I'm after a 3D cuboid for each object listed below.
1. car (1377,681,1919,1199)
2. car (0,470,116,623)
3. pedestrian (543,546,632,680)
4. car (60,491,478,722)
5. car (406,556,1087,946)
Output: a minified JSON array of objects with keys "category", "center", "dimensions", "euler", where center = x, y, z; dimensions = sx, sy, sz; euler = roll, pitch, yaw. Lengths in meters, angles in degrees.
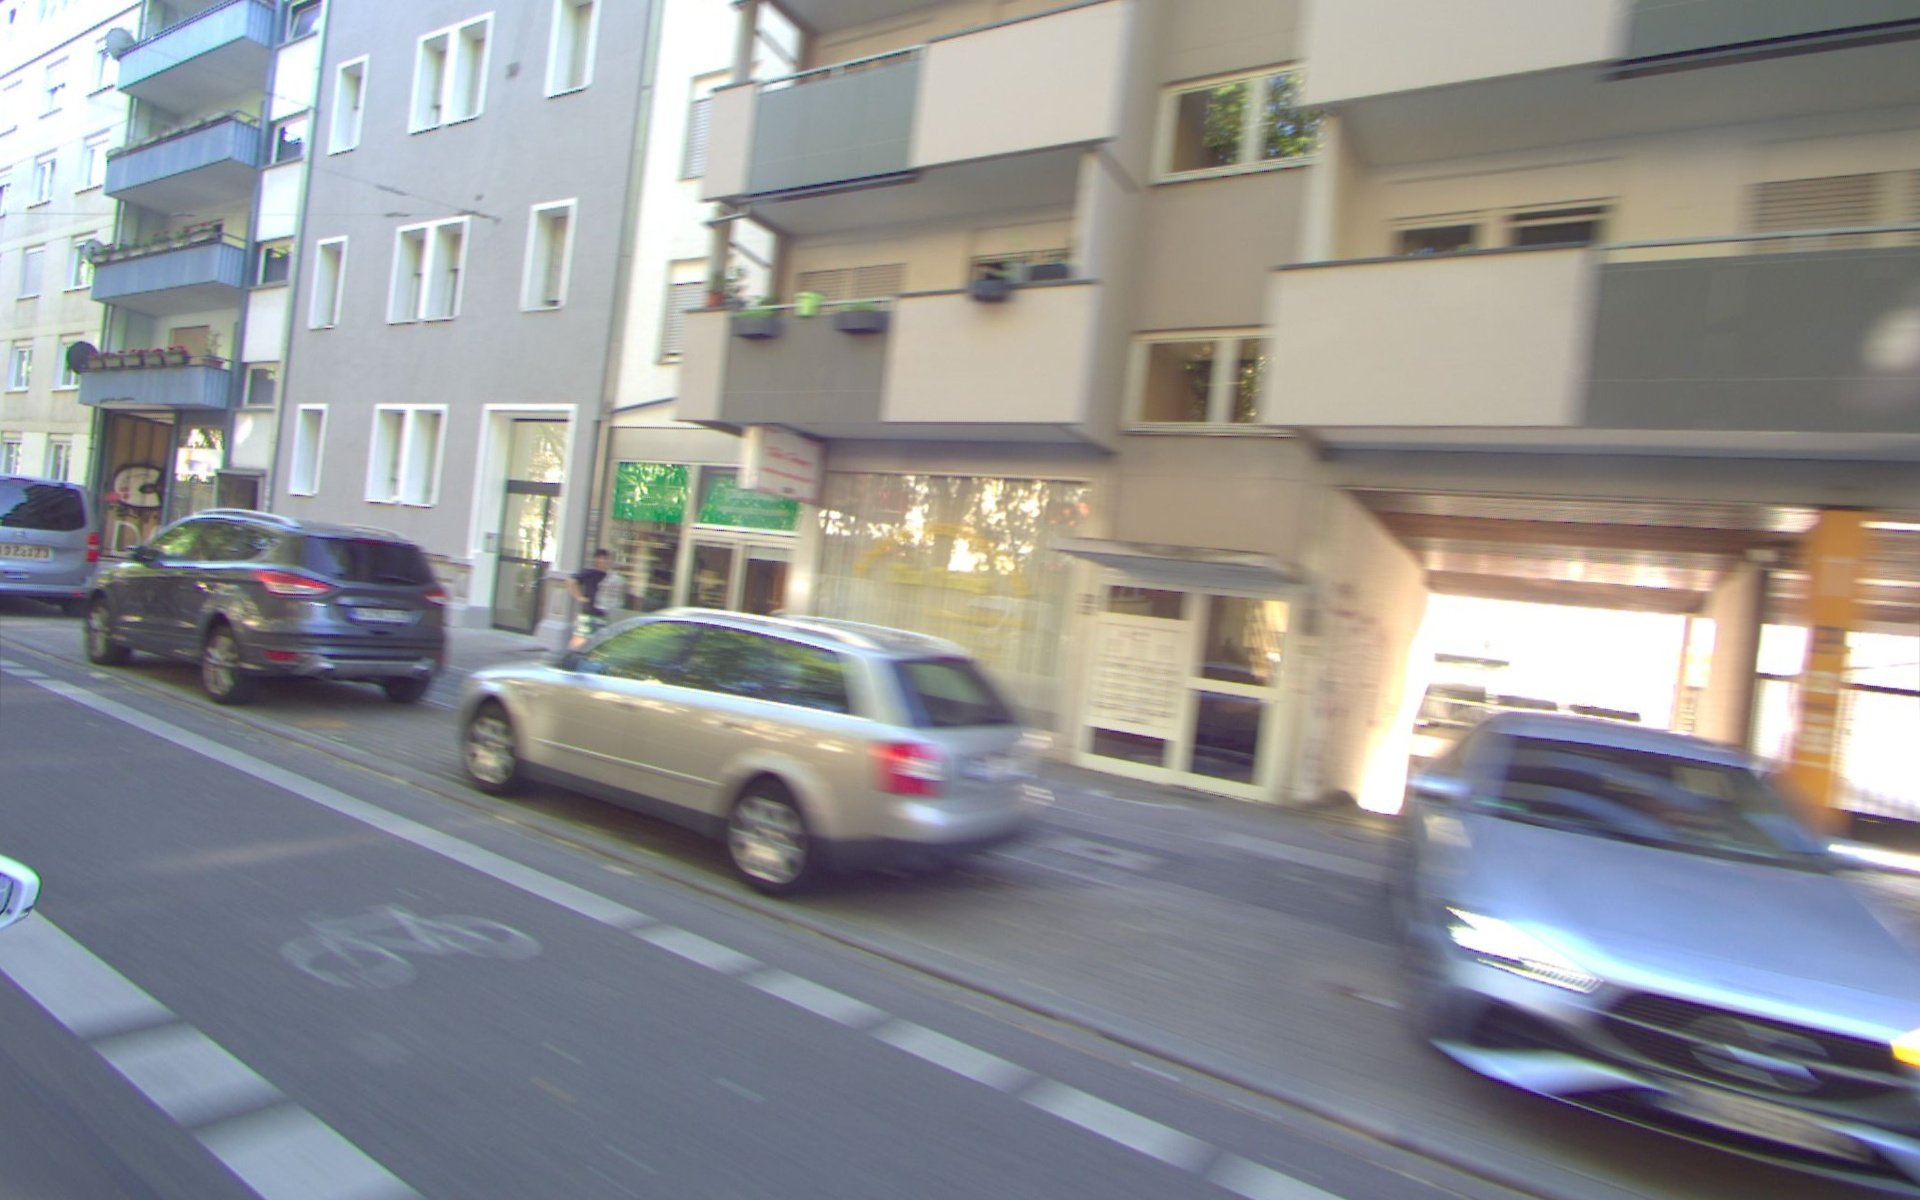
[{"category":"car","center":[3.387,1.370,5.386],"dimensions":[1.830,1.455,4.626],"euler":[7,0,21]},{"category":"car","center":[-14.318,-0.939,14.518],"dimensions":[4.845,1.913,1.860],"euler":[7,0,34]},{"category":"pedestrian","center":[-5.169,0.187,13.962],"dimensions":[0.711,1.741,0.754],"euler":[7,1,45]},{"category":"car","center":[-7.013,0.003,10.111],"dimensions":[4.211,1.725,1.769],"euler":[7,0,31]},{"category":"car","center":[-1.602,0.734,6.731],"dimensions":[4.440,1.544,1.726],"euler":[7,0,34]}]
